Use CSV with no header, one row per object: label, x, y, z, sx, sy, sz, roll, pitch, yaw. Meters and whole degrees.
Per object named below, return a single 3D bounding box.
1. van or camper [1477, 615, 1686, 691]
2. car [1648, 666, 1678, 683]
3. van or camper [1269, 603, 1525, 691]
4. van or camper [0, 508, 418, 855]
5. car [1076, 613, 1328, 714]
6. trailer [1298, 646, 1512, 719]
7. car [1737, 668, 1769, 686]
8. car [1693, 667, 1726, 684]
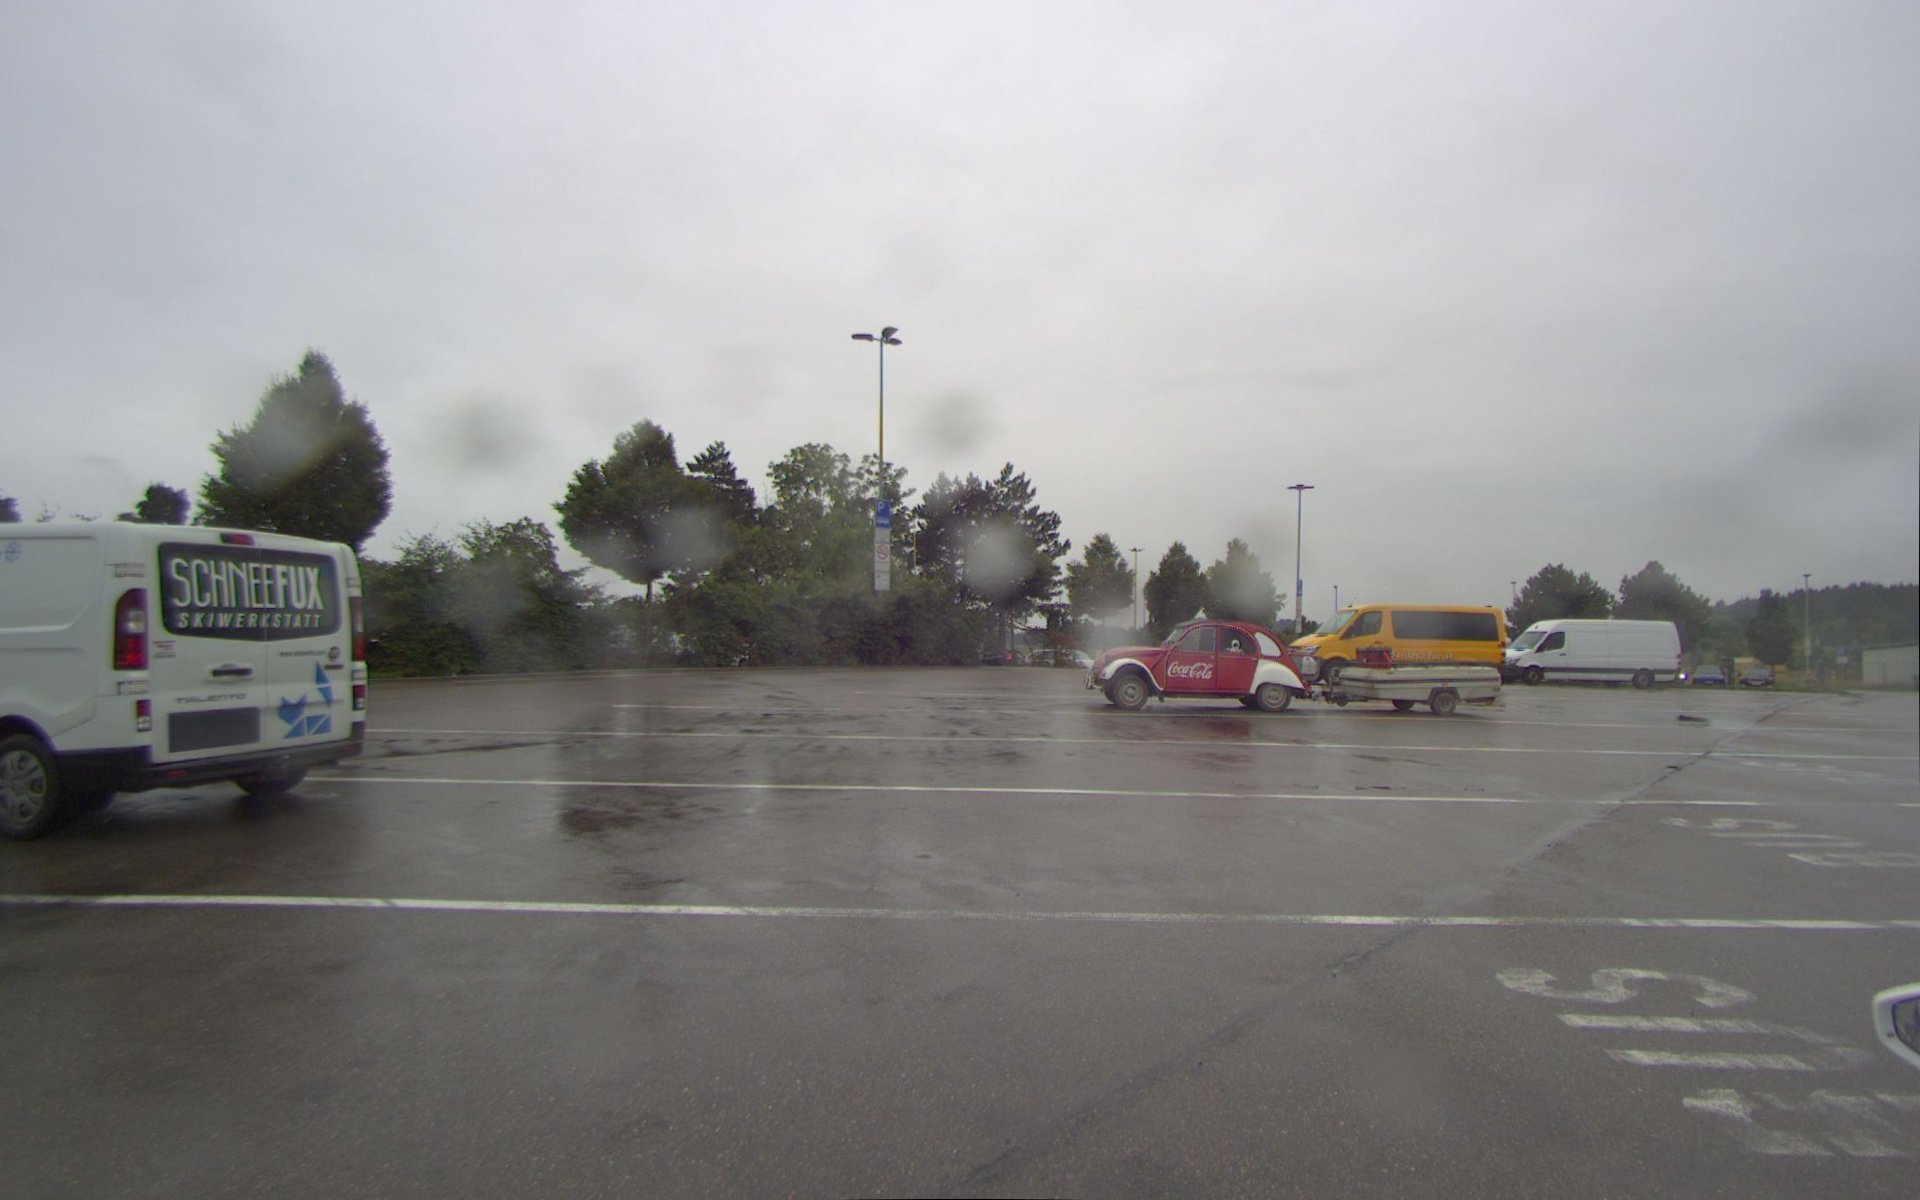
van or camper,24.221,2.042,39.304,6.929,2.752,2.000,1,1,-1
car,50.022,5.281,71.432,1.477,1.013,3.554,0,-1,39
van or camper,12.229,1.297,28.394,6.292,2.276,2.135,1,-1,-1
van or camper,-6.988,0.450,7.413,5.092,1.971,2.196,1,-1,15
car,4.055,1.057,17.282,3.975,1.576,1.550,1,-1,2
trailer,7.561,1.382,17.258,2.970,1.081,1.590,2,-2,2
car,54.512,5.288,69.001,1.683,1.013,3.751,0,-1,39
car,52.970,5.295,70.965,1.683,1.013,3.751,0,-1,39
